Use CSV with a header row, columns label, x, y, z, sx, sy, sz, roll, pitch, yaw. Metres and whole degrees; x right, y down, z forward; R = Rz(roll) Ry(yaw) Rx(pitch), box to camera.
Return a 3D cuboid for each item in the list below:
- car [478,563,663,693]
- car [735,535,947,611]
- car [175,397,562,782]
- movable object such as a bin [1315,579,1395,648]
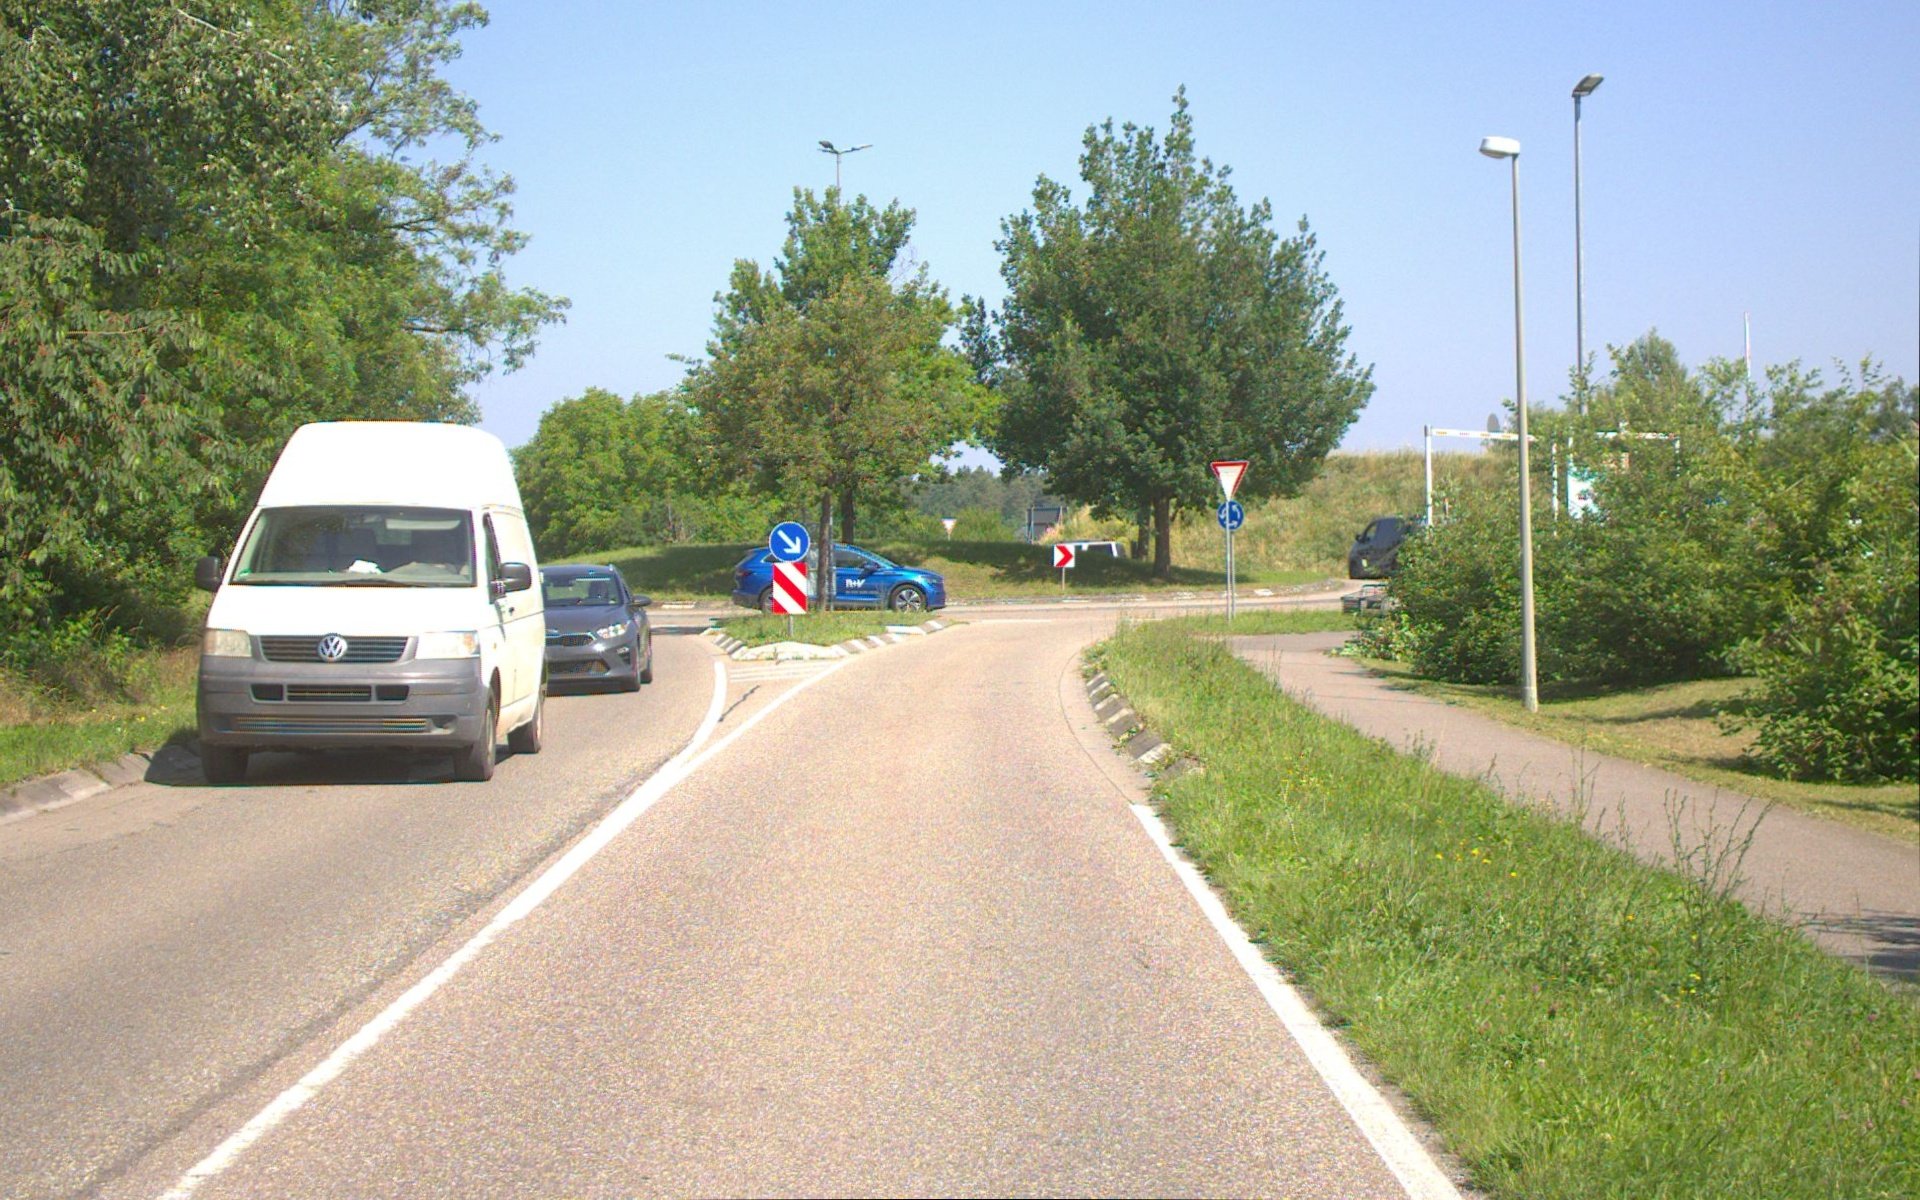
label,x,y,z,sx,sy,sz,roll,pitch,yaw
car,-4.440,0.282,39.689,1.698,1.384,4.294,-1,1,-1
car,-2.573,-0.590,73.701,4.412,1.566,1.717,0,1,-6
car,-3.986,-0.102,23.983,1.912,2.392,4.911,-1,1,-1
movable object such as a bin,6.631,0.221,57.720,0.869,1.116,1.453,0,1,28
